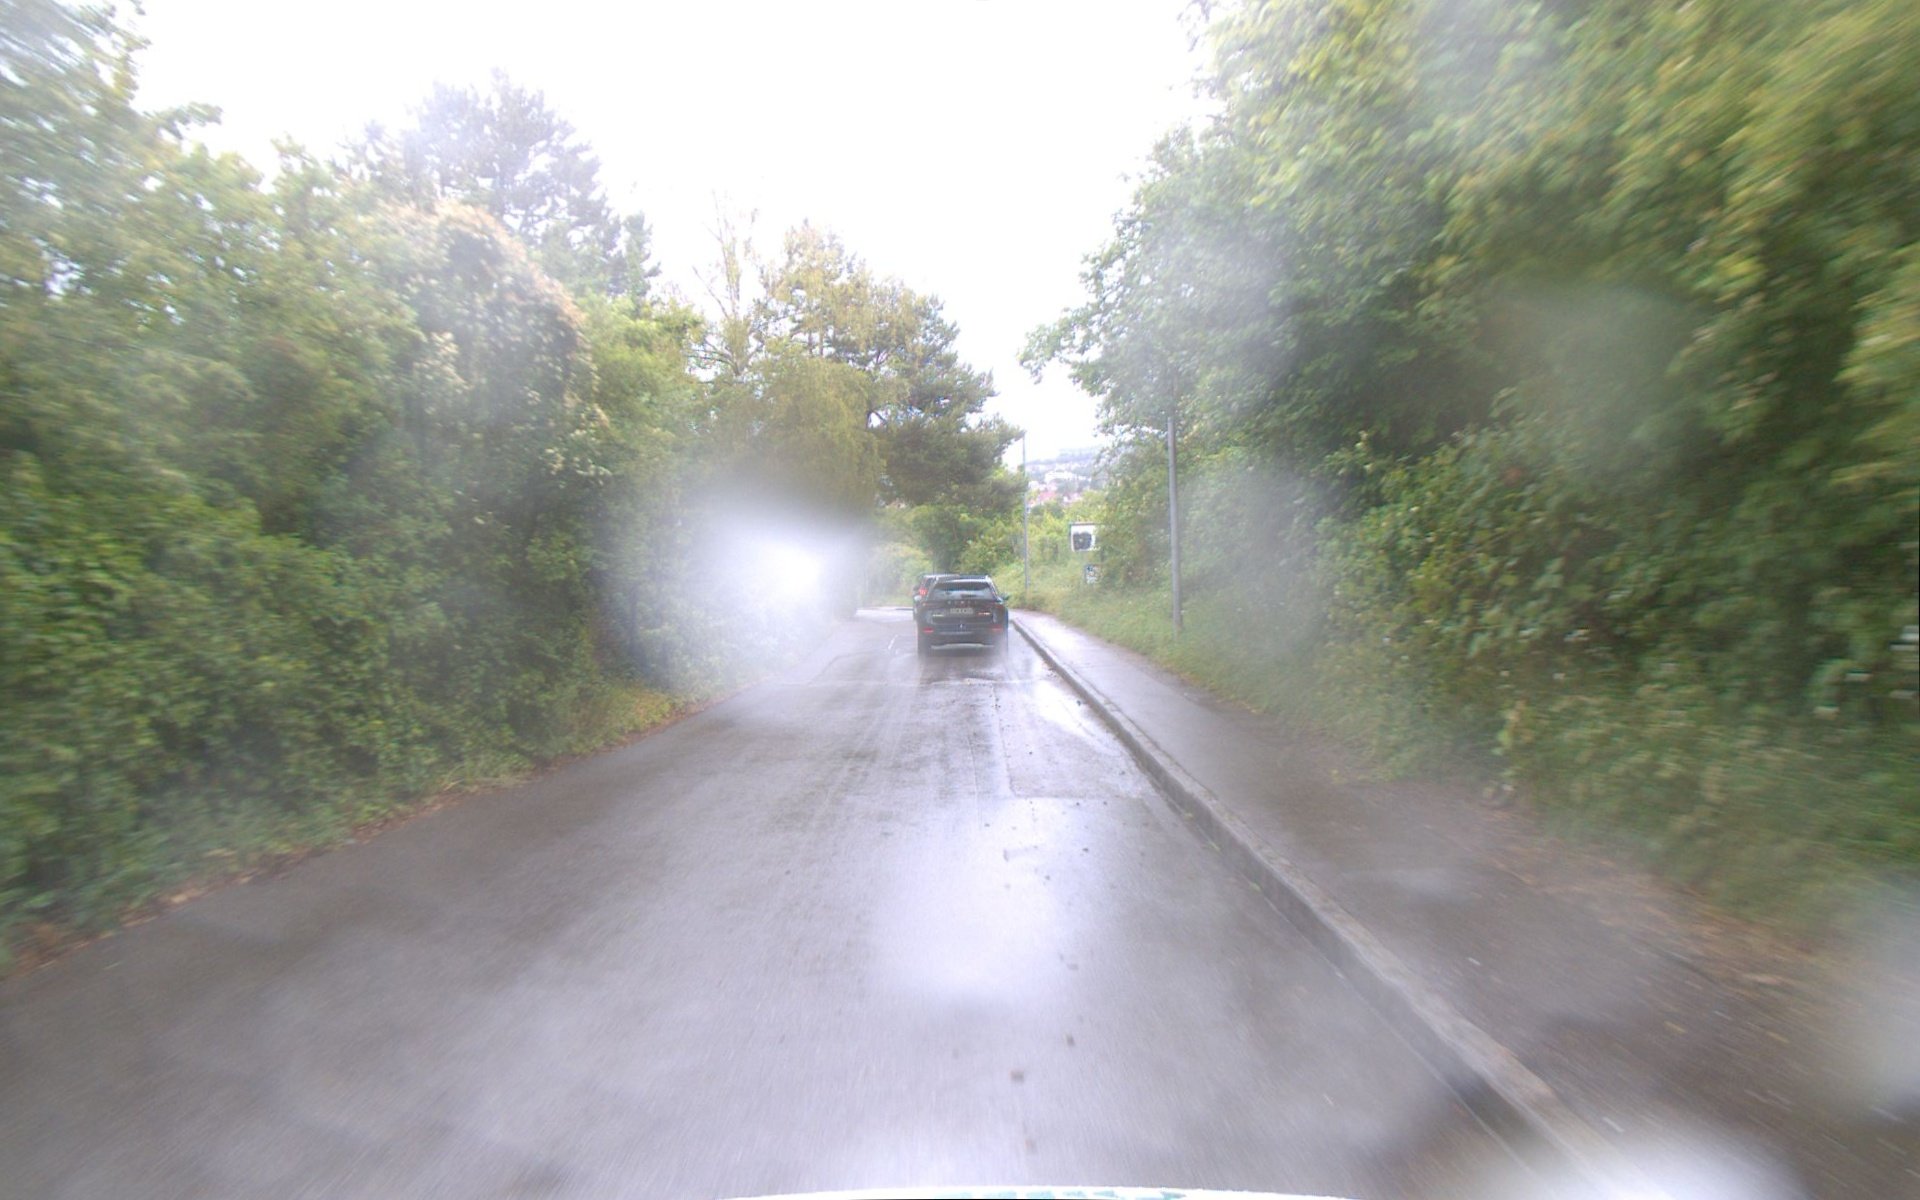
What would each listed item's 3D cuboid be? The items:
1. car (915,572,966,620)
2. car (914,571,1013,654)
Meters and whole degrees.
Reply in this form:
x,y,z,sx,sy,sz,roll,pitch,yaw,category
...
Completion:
x,y,z,sx,sy,sz,roll,pitch,yaw,category
-0.660,-0.162,56.237,1.644,1.592,3.794,0,1,-1,car
0.025,0.280,32.301,1.797,1.490,3.998,-1,-1,-1,car
